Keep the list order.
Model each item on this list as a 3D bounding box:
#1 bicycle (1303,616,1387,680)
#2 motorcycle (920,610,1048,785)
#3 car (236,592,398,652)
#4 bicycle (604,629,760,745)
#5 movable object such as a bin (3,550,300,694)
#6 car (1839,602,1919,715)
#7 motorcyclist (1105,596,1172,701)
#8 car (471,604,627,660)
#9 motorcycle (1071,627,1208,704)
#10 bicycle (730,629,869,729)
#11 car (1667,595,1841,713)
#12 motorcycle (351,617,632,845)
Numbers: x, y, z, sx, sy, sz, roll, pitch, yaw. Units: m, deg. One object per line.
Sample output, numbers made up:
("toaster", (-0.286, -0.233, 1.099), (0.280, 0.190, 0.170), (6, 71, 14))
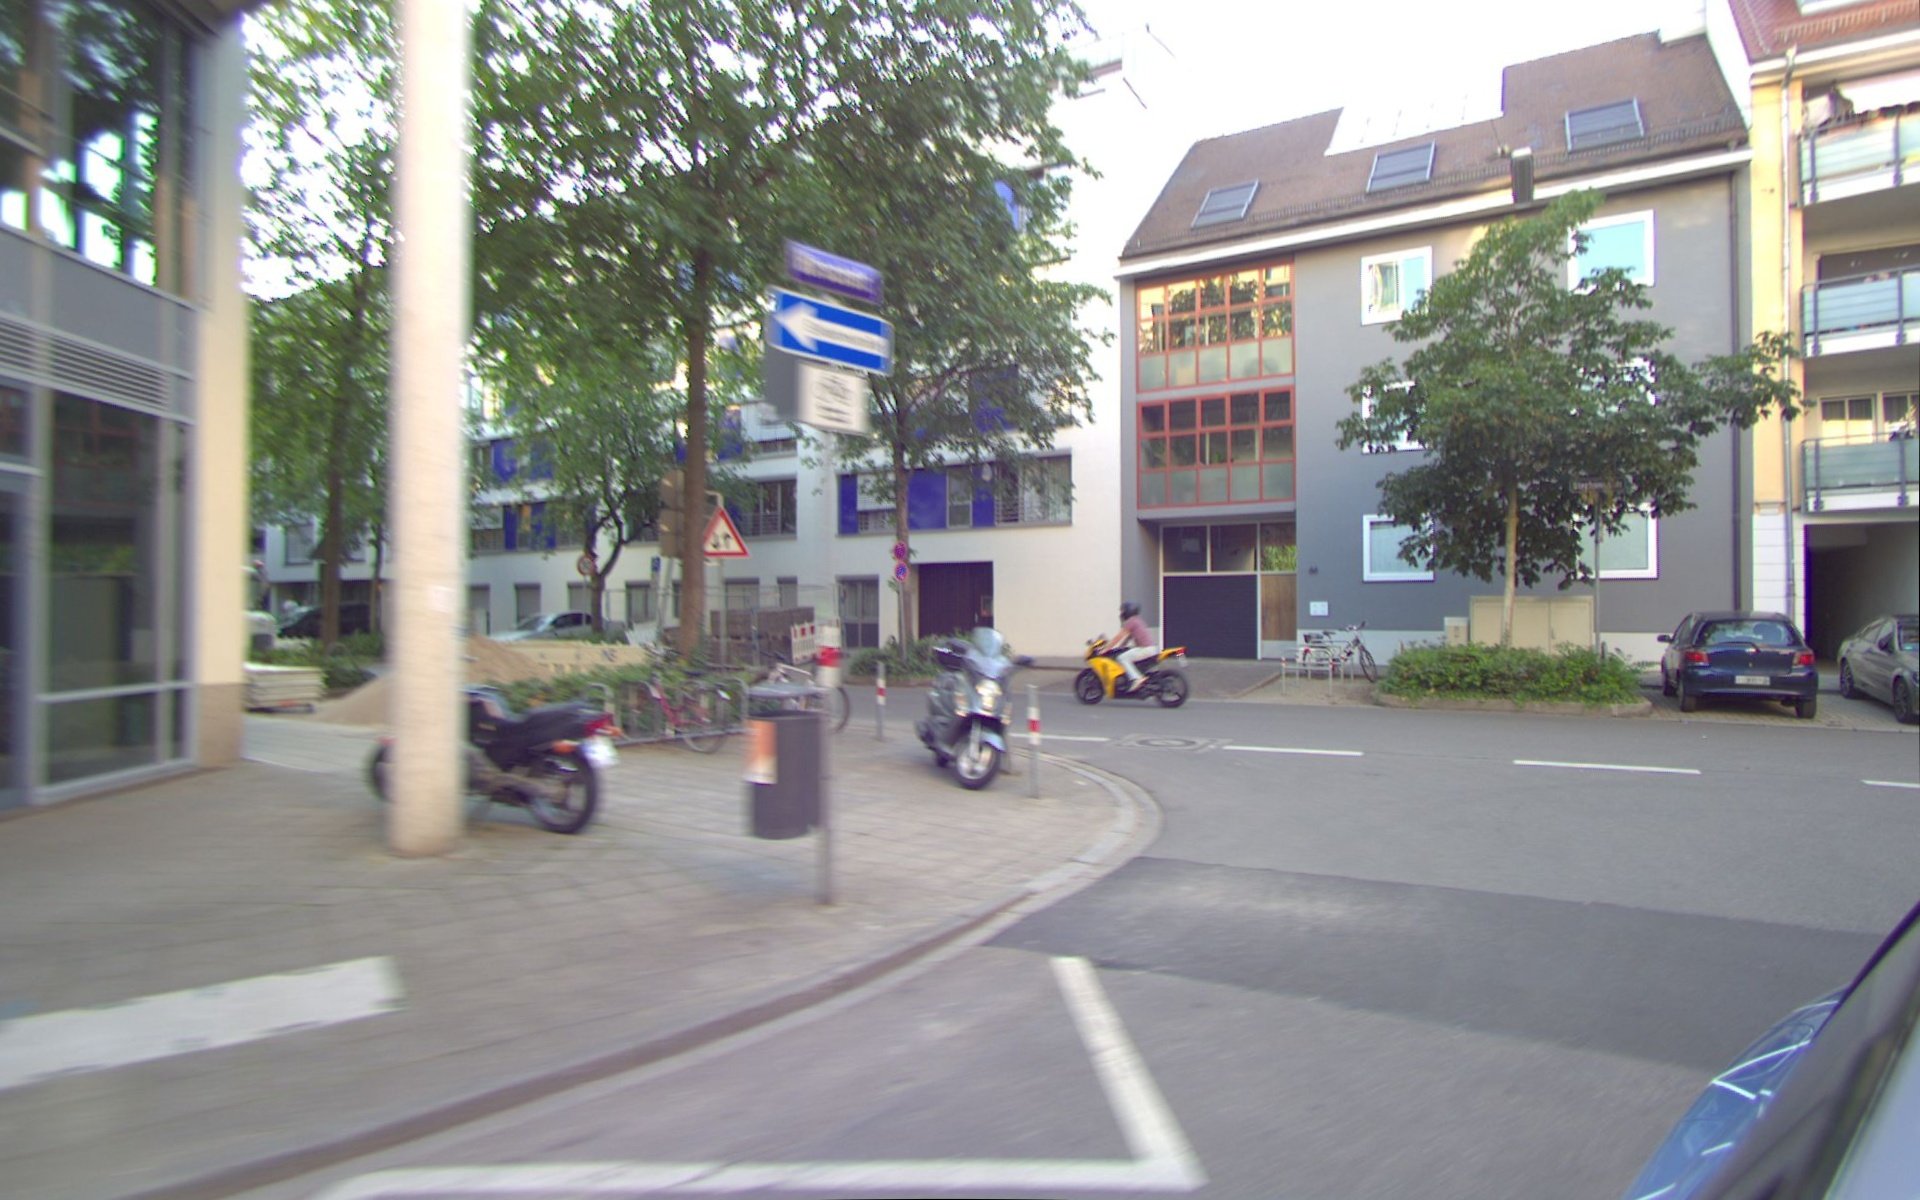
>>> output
("bicycle", (7.839, 0.958, 20.592), (1.488, 1.186, 0.720), (0, 4, 32))
("motorcycle", (0.162, 0.833, 9.752), (0.785, 1.459, 2.383), (1, 0, -9))
("car", (-24.226, 0.788, 38.346), (1.723, 2.114, 4.934), (0, 0, 30))
("bicycle", (-3.077, 0.914, 11.143), (1.785, 1.132, 0.596), (1, 0, 31))
("movable object such as a bin", (-14.918, 0.364, 18.856), (2.560, 2.362, 3.640), (0, 0, 29))
("car", (14.643, 0.811, 14.780), (1.855, 1.527, 4.249), (0, 0, 29))
("motorcyclist", (2.901, 0.763, 16.454), (0.906, 1.635, 0.715), (0, -1, 28))
("car", (-12.685, 0.940, 31.502), (1.616, 1.611, 4.399), (0, 0, 32))
("motorcycle", (2.903, 1.037, 16.452), (2.088, 1.136, 0.729), (0, -1, 28))
("bicycle", (-2.065, 0.971, 12.906), (1.785, 1.132, 0.596), (1, 0, 31))
("car", (12.321, 0.742, 15.916), (1.732, 1.545, 3.325), (0, 2, 31))
("motorcycle", (-3.197, 0.791, 6.824), (2.108, 1.290, 0.609), (1, 0, 30))
